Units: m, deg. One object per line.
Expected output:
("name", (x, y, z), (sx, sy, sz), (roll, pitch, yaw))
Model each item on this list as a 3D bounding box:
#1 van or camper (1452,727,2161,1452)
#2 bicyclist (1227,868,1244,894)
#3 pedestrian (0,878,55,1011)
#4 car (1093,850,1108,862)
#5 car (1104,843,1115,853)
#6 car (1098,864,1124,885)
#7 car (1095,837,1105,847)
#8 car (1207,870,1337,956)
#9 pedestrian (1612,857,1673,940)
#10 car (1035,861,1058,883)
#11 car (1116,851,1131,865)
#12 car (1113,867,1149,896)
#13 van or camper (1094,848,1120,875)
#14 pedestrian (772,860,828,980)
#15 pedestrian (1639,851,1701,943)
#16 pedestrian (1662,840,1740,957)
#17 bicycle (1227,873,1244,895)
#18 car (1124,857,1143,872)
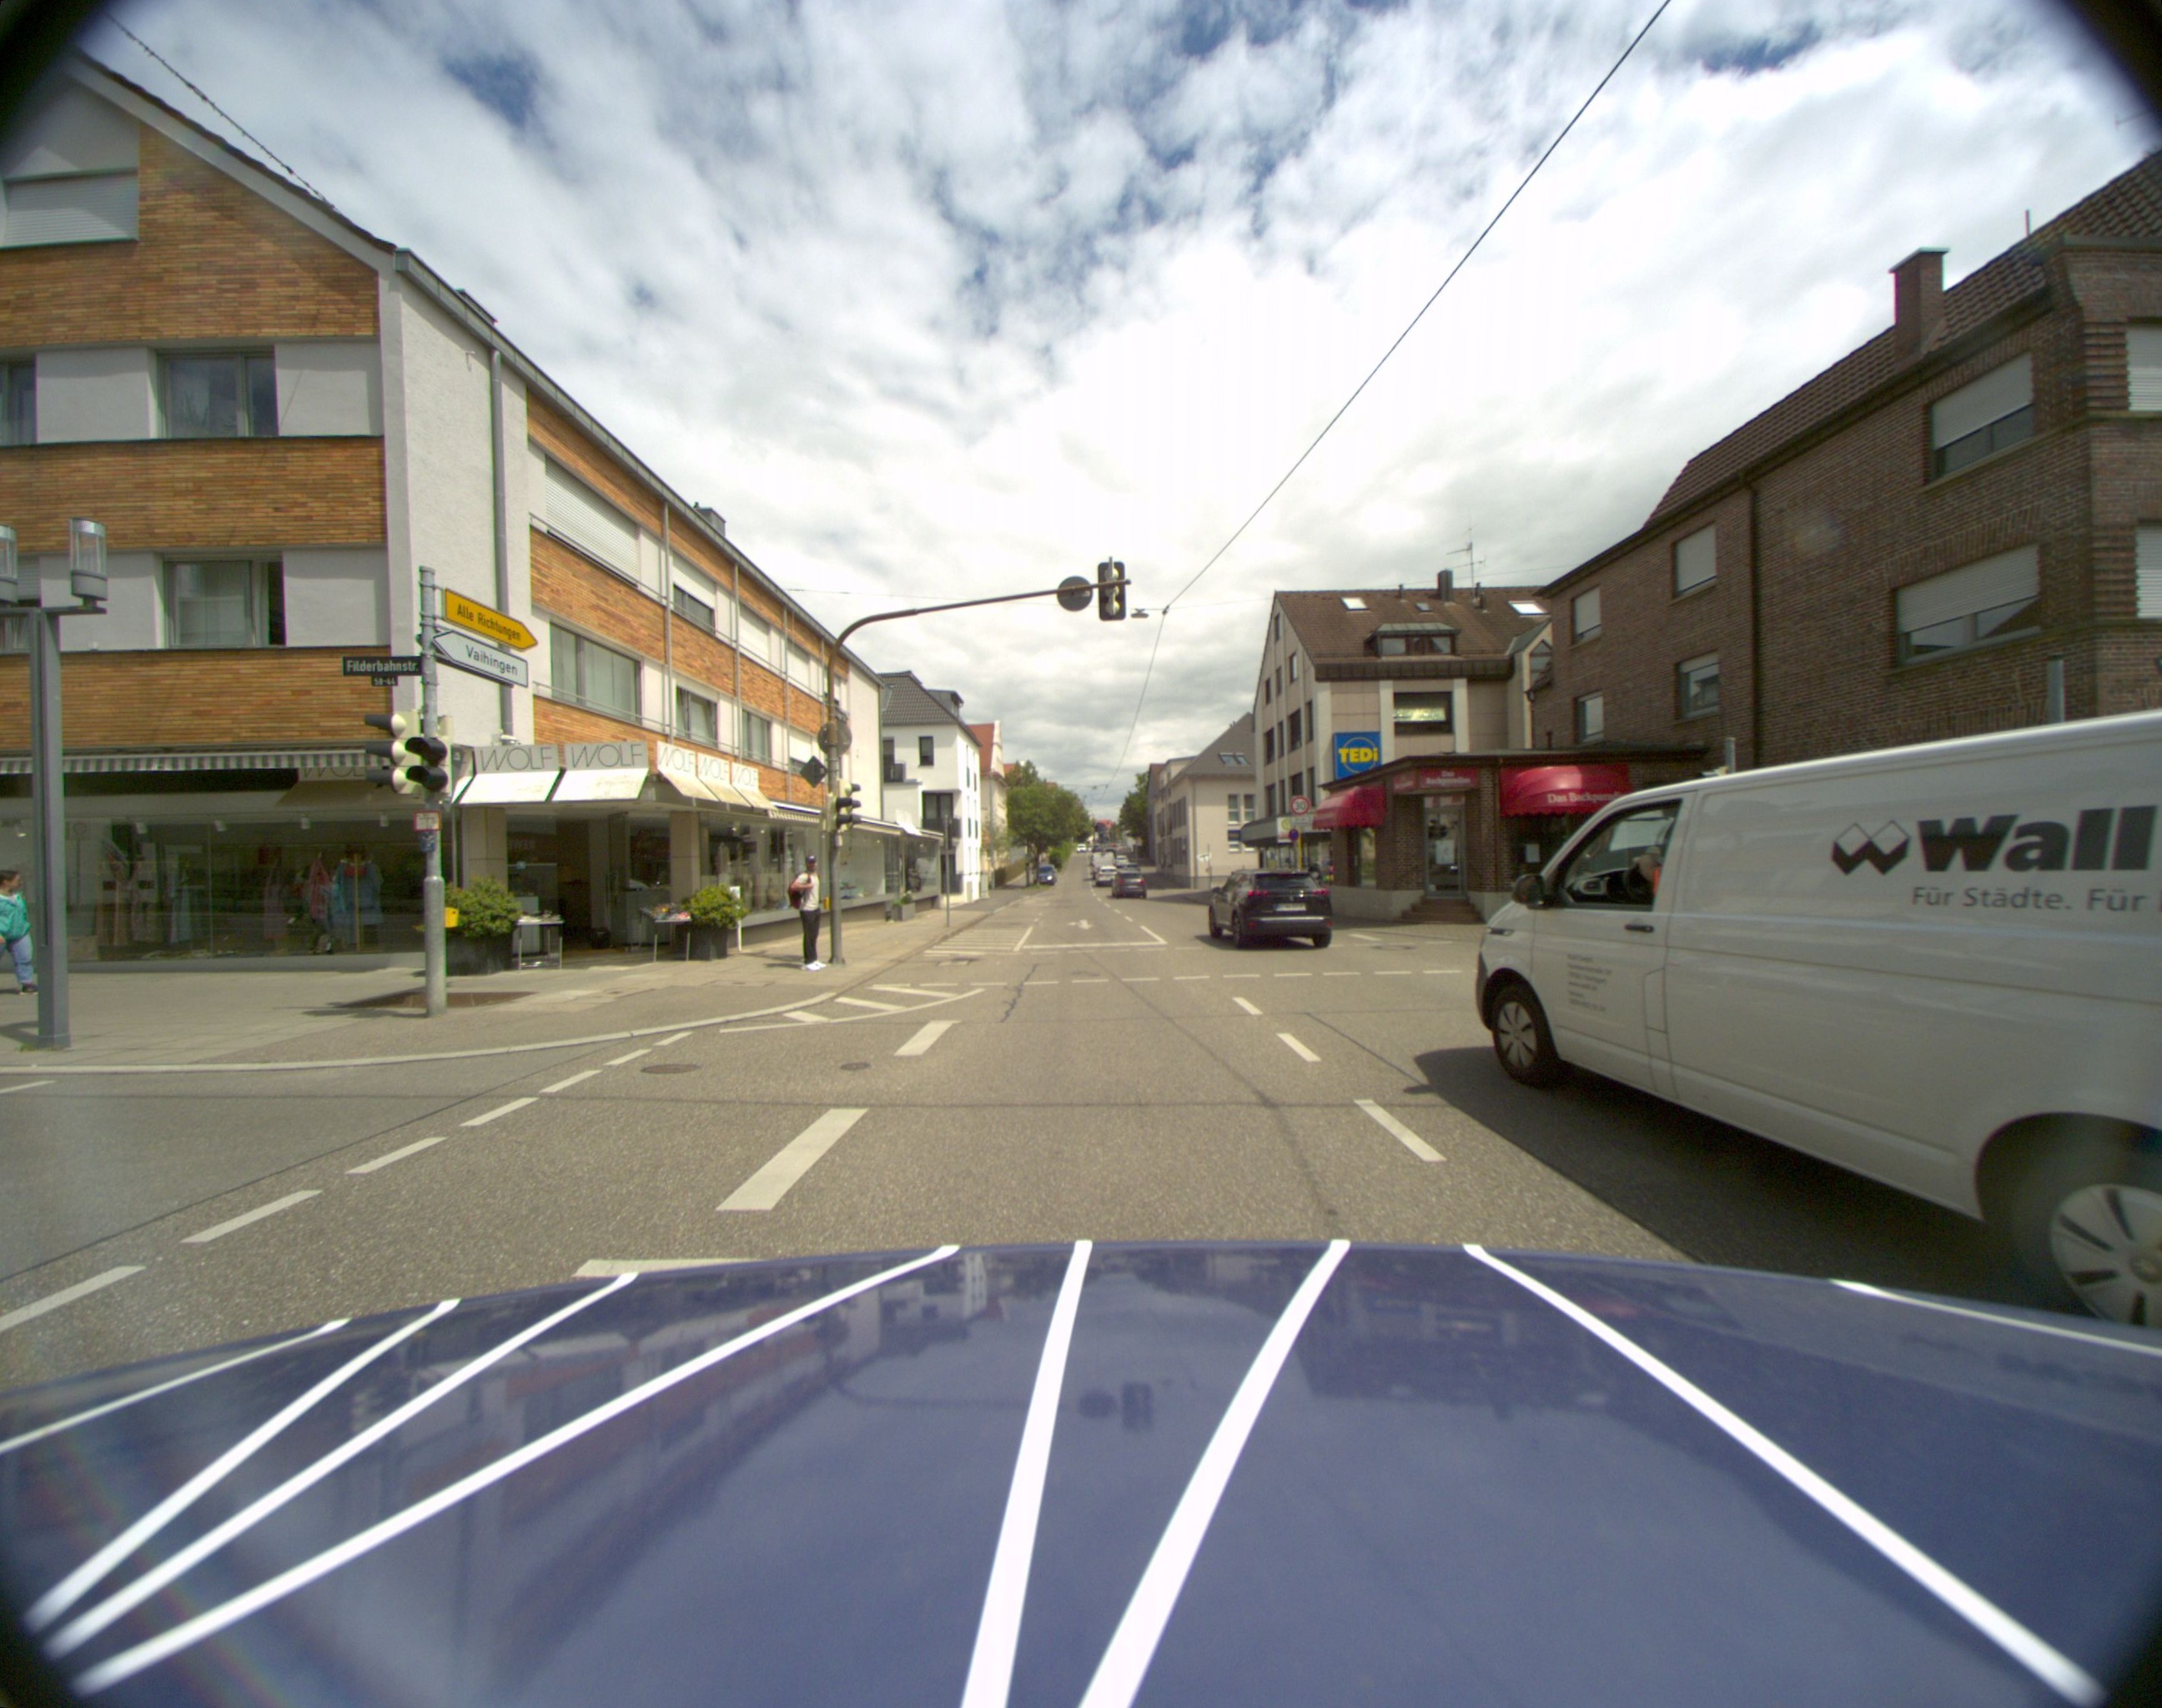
("van or camper", (3.740, 0.626, 3.373), (1.869, 1.886, 4.693), (-2, -1, 0))
("bicyclist", (8.356, 1.439, 41.045), (0.669, 1.330, 0.761), (-5, 1, 0))
("pedestrian", (-13.084, 1.087, 9.154), (0.589, 1.550, 0.528), (-3, 1, -16))
("car", (2.560, 0.283, 100.116), (1.780, 1.603, 4.119), (0, 0, -2))
("car", (4.799, -0.954, 127.570), (1.673, 1.545, 3.964), (-1, 3, 0))
("car", (2.400, 1.621, 61.389), (1.785, 1.630, 4.220), (0, 0, -1))
("car", (3.767, -2.363, 151.488), (1.946, 1.709, 4.597), (-1, -1, -1))
("car", (3.770, 1.102, 15.676), (1.687, 1.488, 3.967), (-1, -1, 0))
("pedestrian", (10.392, 0.803, 14.088), (0.525, 1.476, 0.761), (-2, 1, -2))
("car", (-2.953, 1.549, 65.616), (1.698, 1.733, 4.159), (-1, 1, 0))
("car", (5.261, 0.489, 94.368), (1.737, 1.480, 4.065), (-1, 3, 0))
("car", (2.941, 1.625, 45.437), (1.794, 1.580, 4.101), (-1, -1, -2))
("van or camper", (2.482, 0.785, 73.477), (2.154, 2.540, 5.438), (-1, -1, -2))
("pedestrian", (-4.427, 1.015, 11.957), (0.614, 1.803, 0.774), (3, -1, -32))
("pedestrian", (10.962, 0.780, 14.149), (0.525, 1.649, 0.761), (-2, 1, -2))
("pedestrian", (9.844, 0.689, 12.086), (0.627, 1.786, 0.720), (-2, 1, -2))
("bicycle", (8.333, 1.618, 41.068), (0.444, 1.044, 1.734), (-5, 1, 0))
("car", (5.235, 1.057, 76.476), (1.665, 1.322, 3.473), (-1, 2, 0))
